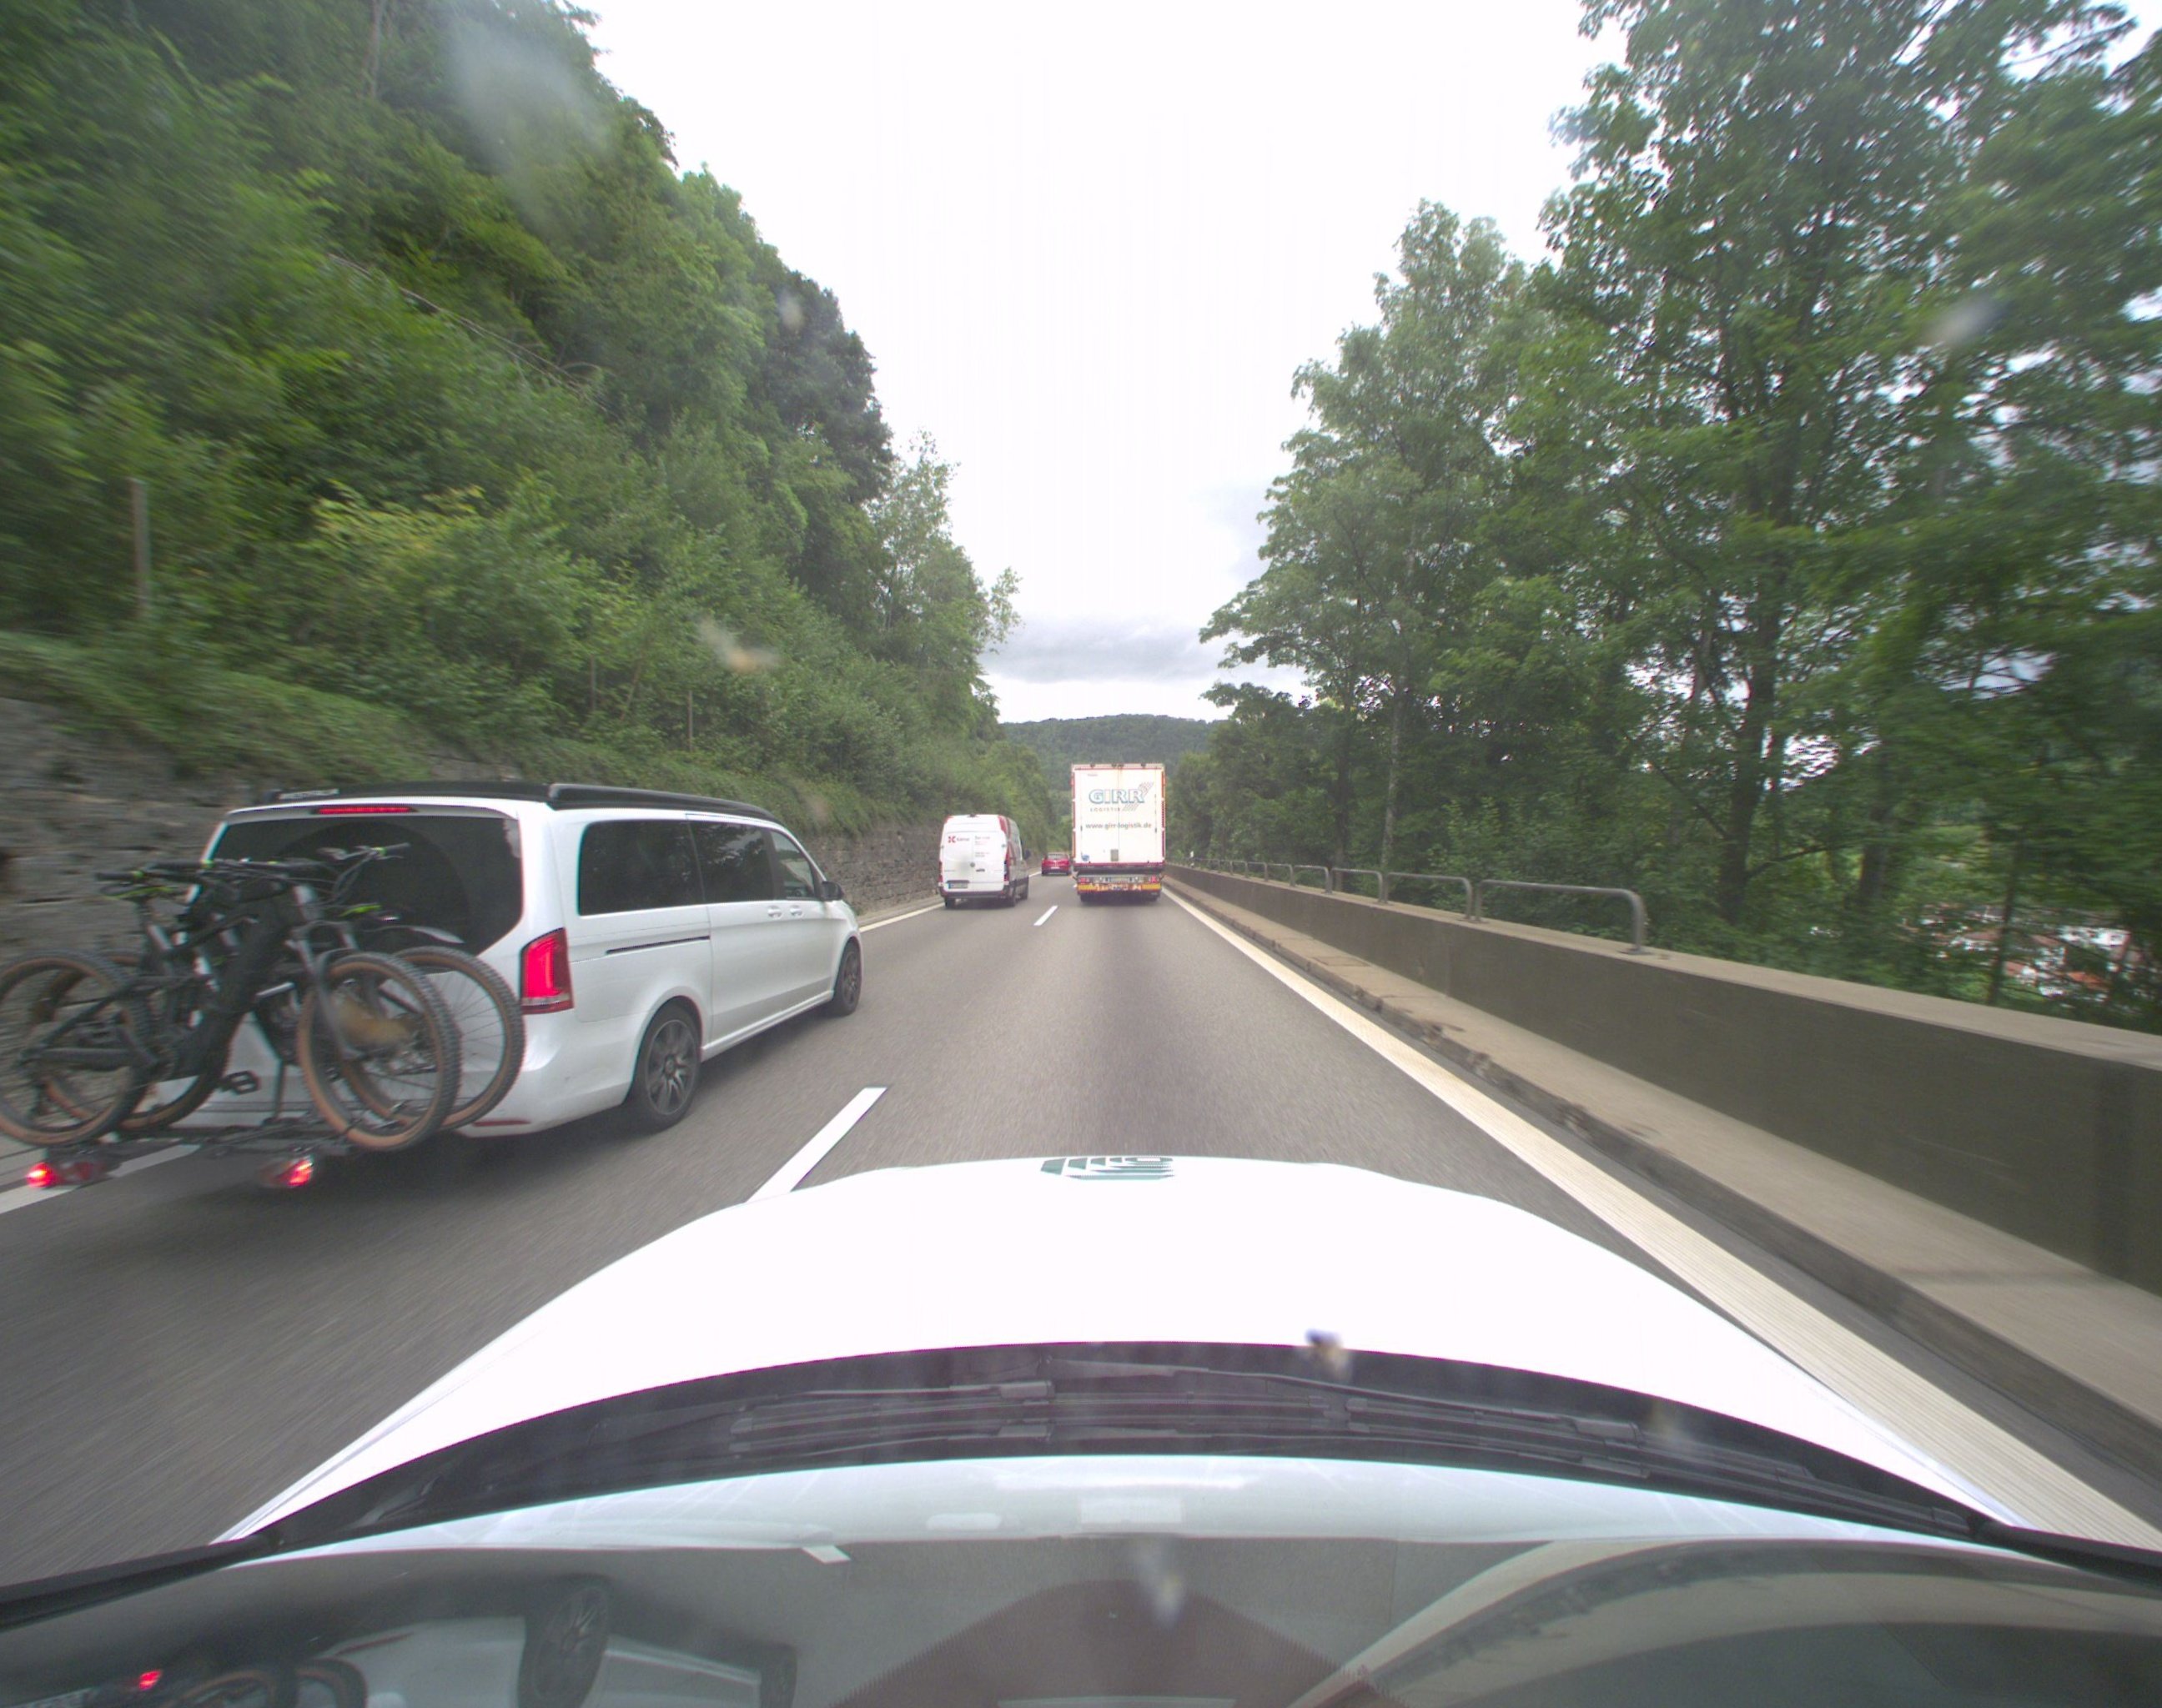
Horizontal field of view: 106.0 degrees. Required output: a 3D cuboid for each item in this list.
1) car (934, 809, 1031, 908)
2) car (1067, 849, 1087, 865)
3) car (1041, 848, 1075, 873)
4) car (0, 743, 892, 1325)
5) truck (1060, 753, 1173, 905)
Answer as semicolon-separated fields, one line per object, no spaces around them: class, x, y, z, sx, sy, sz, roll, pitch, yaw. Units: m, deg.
car;-2.816;0.141;24.838;2.019;2.585;6.275;-2;0;1
car;-0.476;0.368;87.297;1.667;1.638;4.059;-2;0;-6
car;-1.431;0.426;51.830;1.759;1.460;4.414;-2;0;3
car;-3.155;0.590;5.821;1.986;1.953;6.150;0;0;2
truck;1.182;-0.667;26.335;2.897;3.960;9.285;-2;0;3
